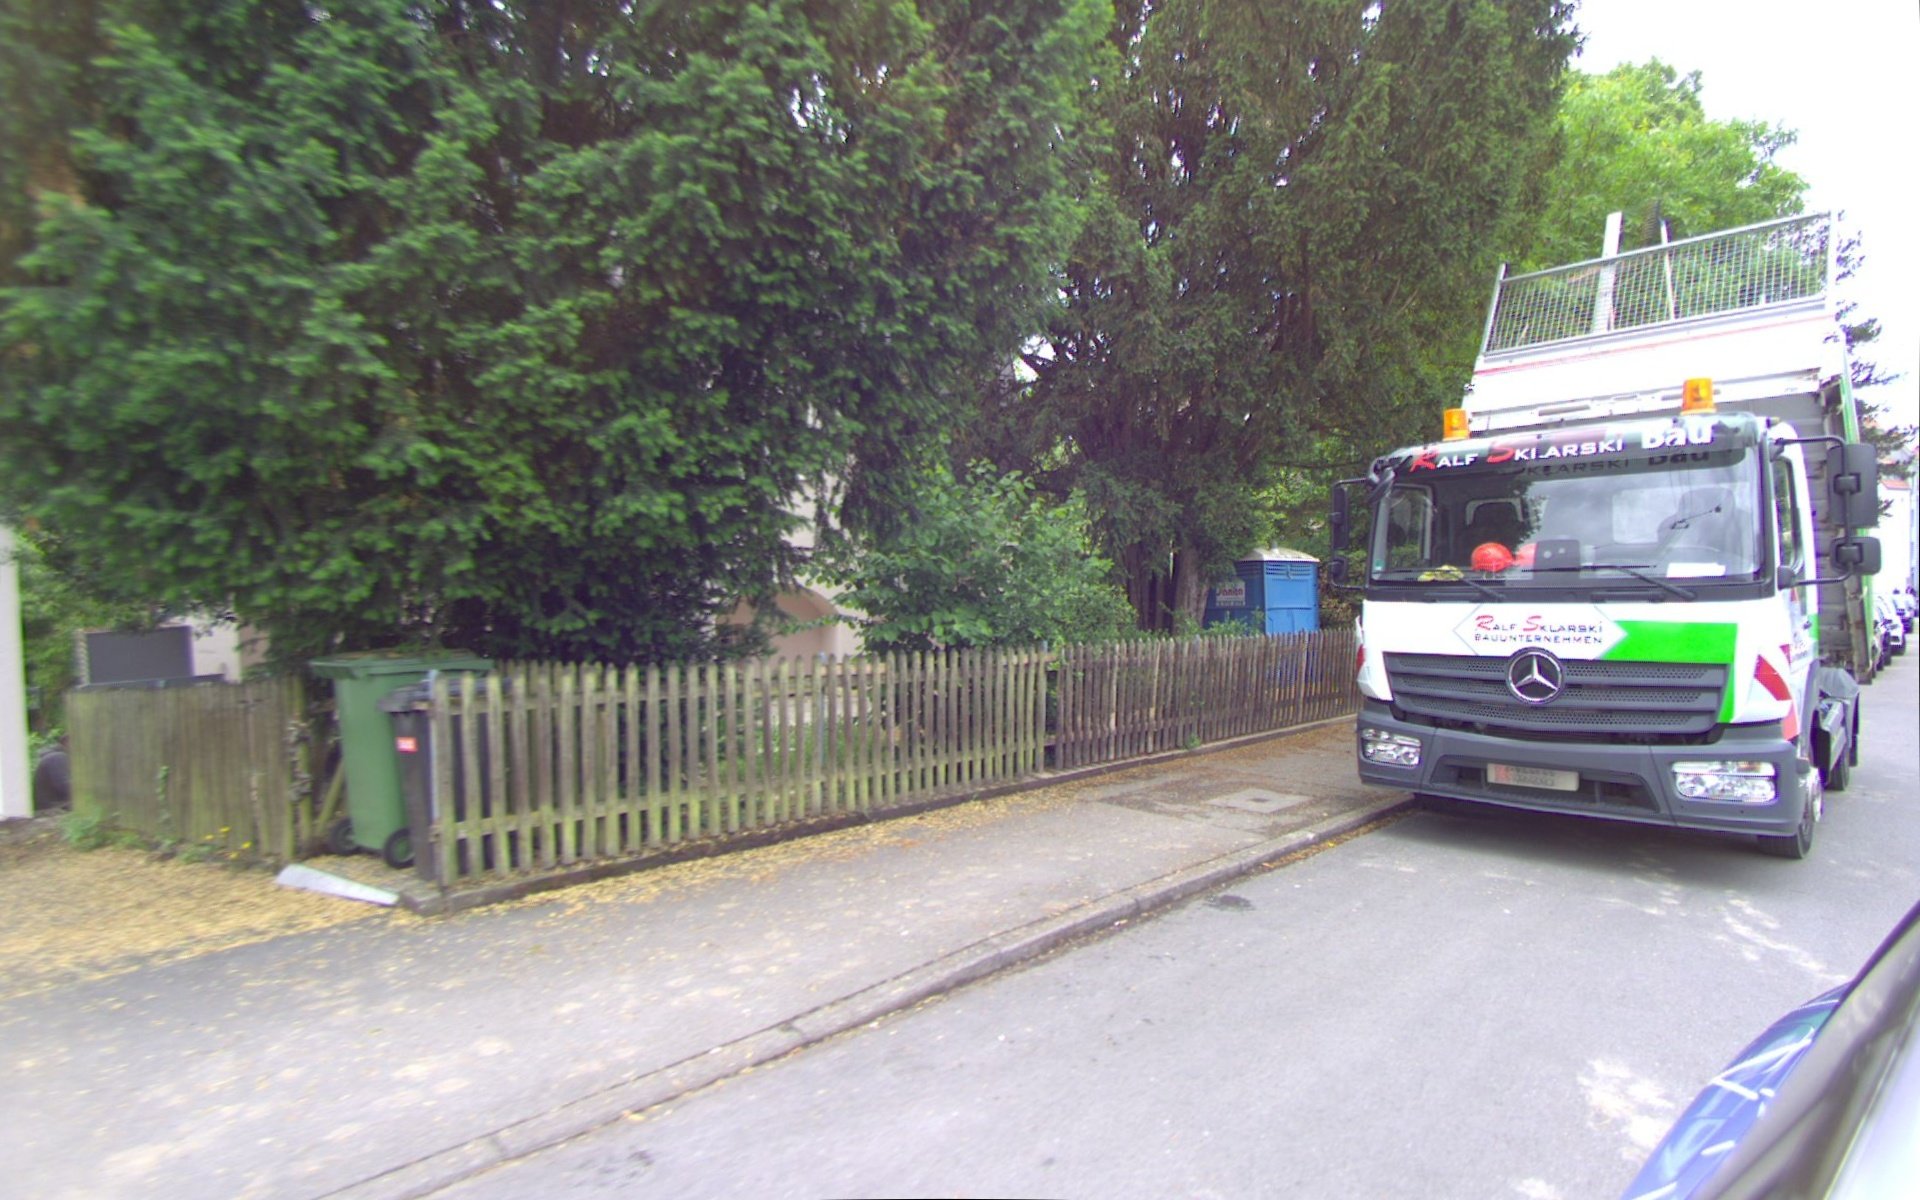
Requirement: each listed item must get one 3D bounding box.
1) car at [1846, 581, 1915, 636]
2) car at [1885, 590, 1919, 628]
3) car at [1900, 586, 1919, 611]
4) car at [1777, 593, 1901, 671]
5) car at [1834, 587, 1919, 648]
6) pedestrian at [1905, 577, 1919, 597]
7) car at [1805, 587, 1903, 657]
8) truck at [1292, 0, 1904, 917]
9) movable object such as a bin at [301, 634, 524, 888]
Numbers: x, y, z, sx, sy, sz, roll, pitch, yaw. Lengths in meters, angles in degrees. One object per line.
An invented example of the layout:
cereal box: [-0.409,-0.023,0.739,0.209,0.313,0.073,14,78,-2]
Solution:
car: [33.539,0.306,36.827,1.682,1.853,4.090,-3,-2,44]
car: [43.565,0.384,46.227,1.750,1.628,4.010,-3,-1,45]
car: [64.129,-0.116,67.814,1.570,1.551,2.824,-3,-2,42]
car: [18.583,0.601,21.318,1.652,1.442,4.585,-1,0,45]
car: [26.211,0.454,28.963,1.755,1.626,4.507,-1,-1,41]
pedestrian: [76.568,-1.061,81.397,0.890,1.596,0.683,-3,4,-39]
car: [22.191,0.466,25.071,1.698,1.590,4.242,1,1,43]
truck: [5.564,-0.965,8.085,7.070,4.809,2.525,0,-1,-45]
movable object such as a bin: [-2.872,0.812,5.319,0.687,1.170,0.756,-9,-4,36]
